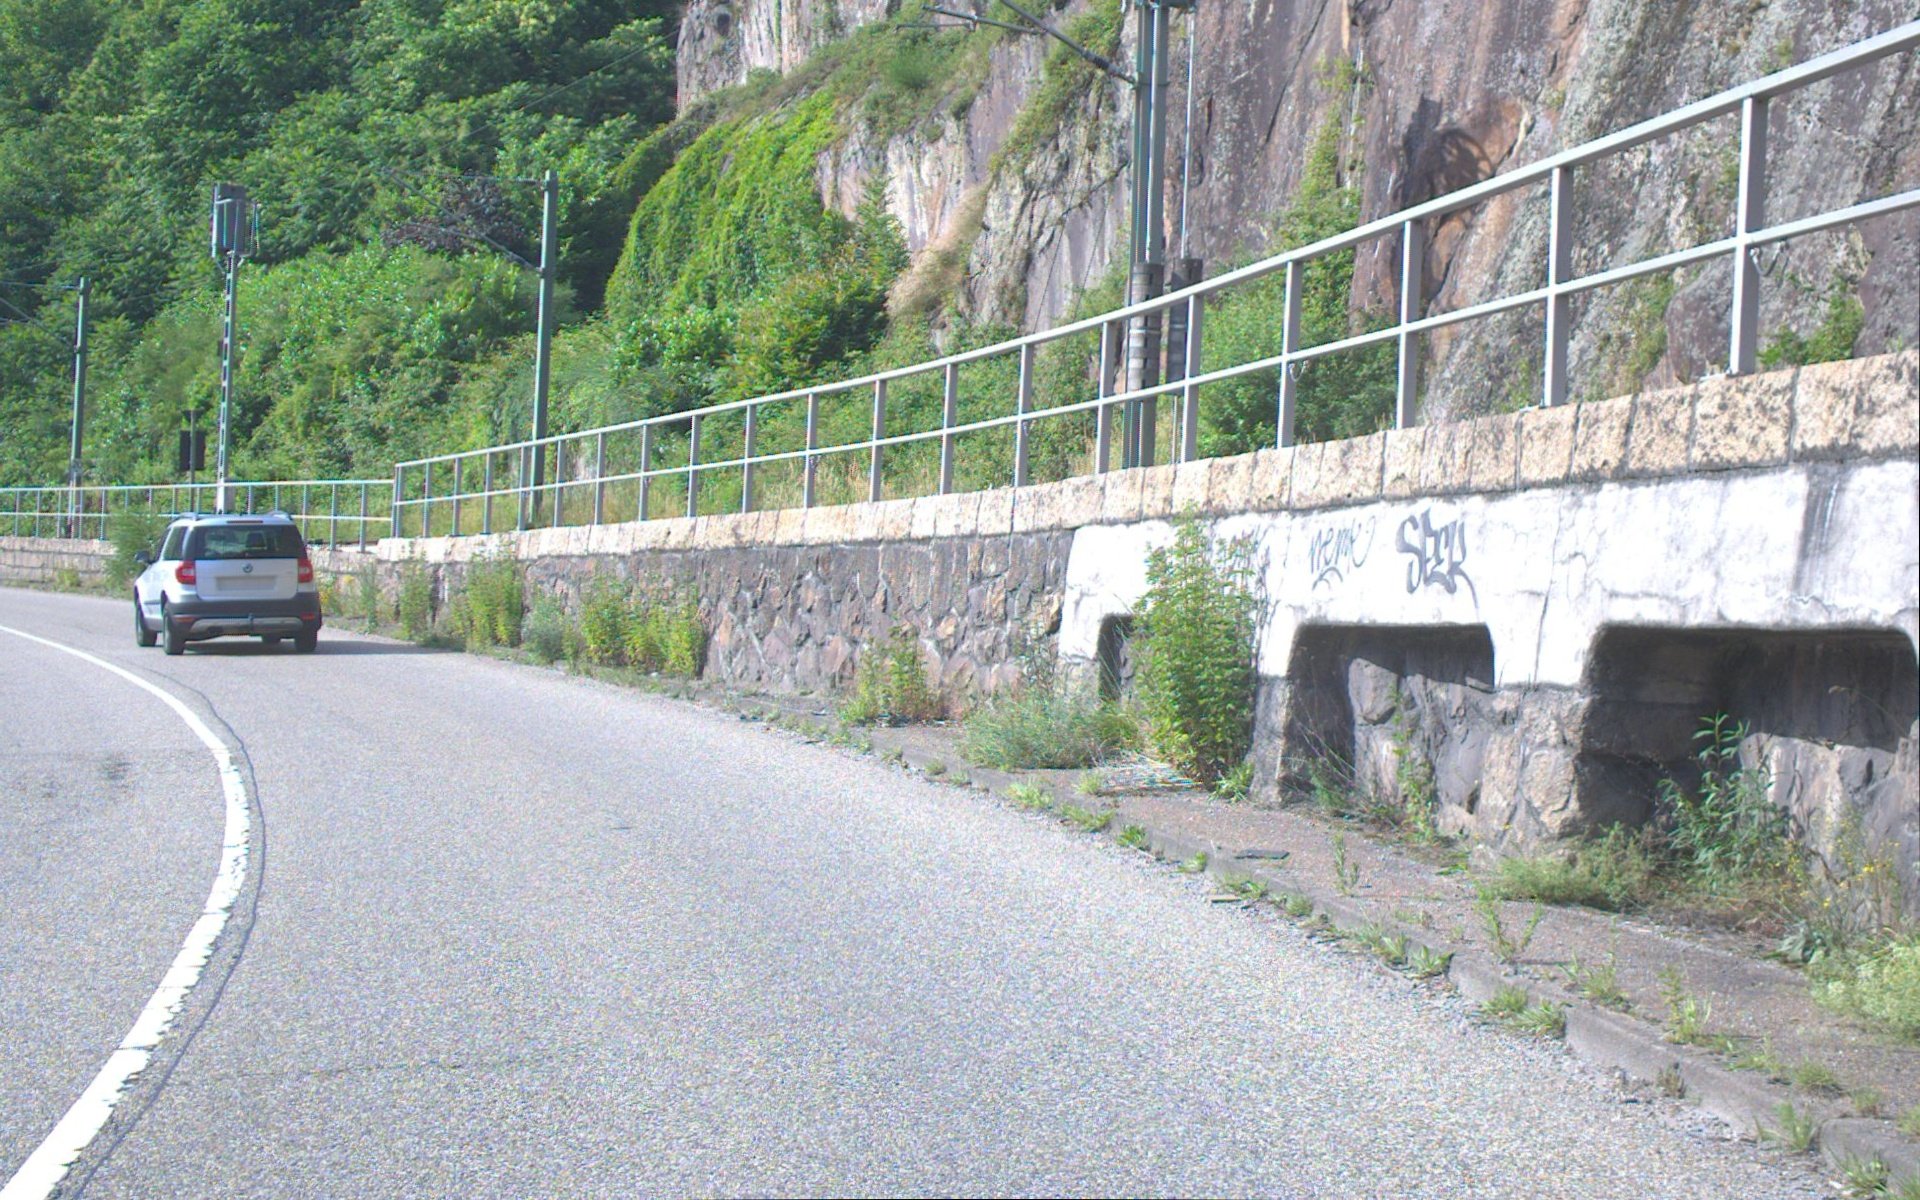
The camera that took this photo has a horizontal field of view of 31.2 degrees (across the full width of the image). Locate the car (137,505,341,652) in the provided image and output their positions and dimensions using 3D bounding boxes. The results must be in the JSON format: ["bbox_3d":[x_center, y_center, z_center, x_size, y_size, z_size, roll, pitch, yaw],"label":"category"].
[{"bbox_3d":[-8.749,-0.302,41.491,1.872,1.650,4.001,0,2,-20],"label":"car"}]
